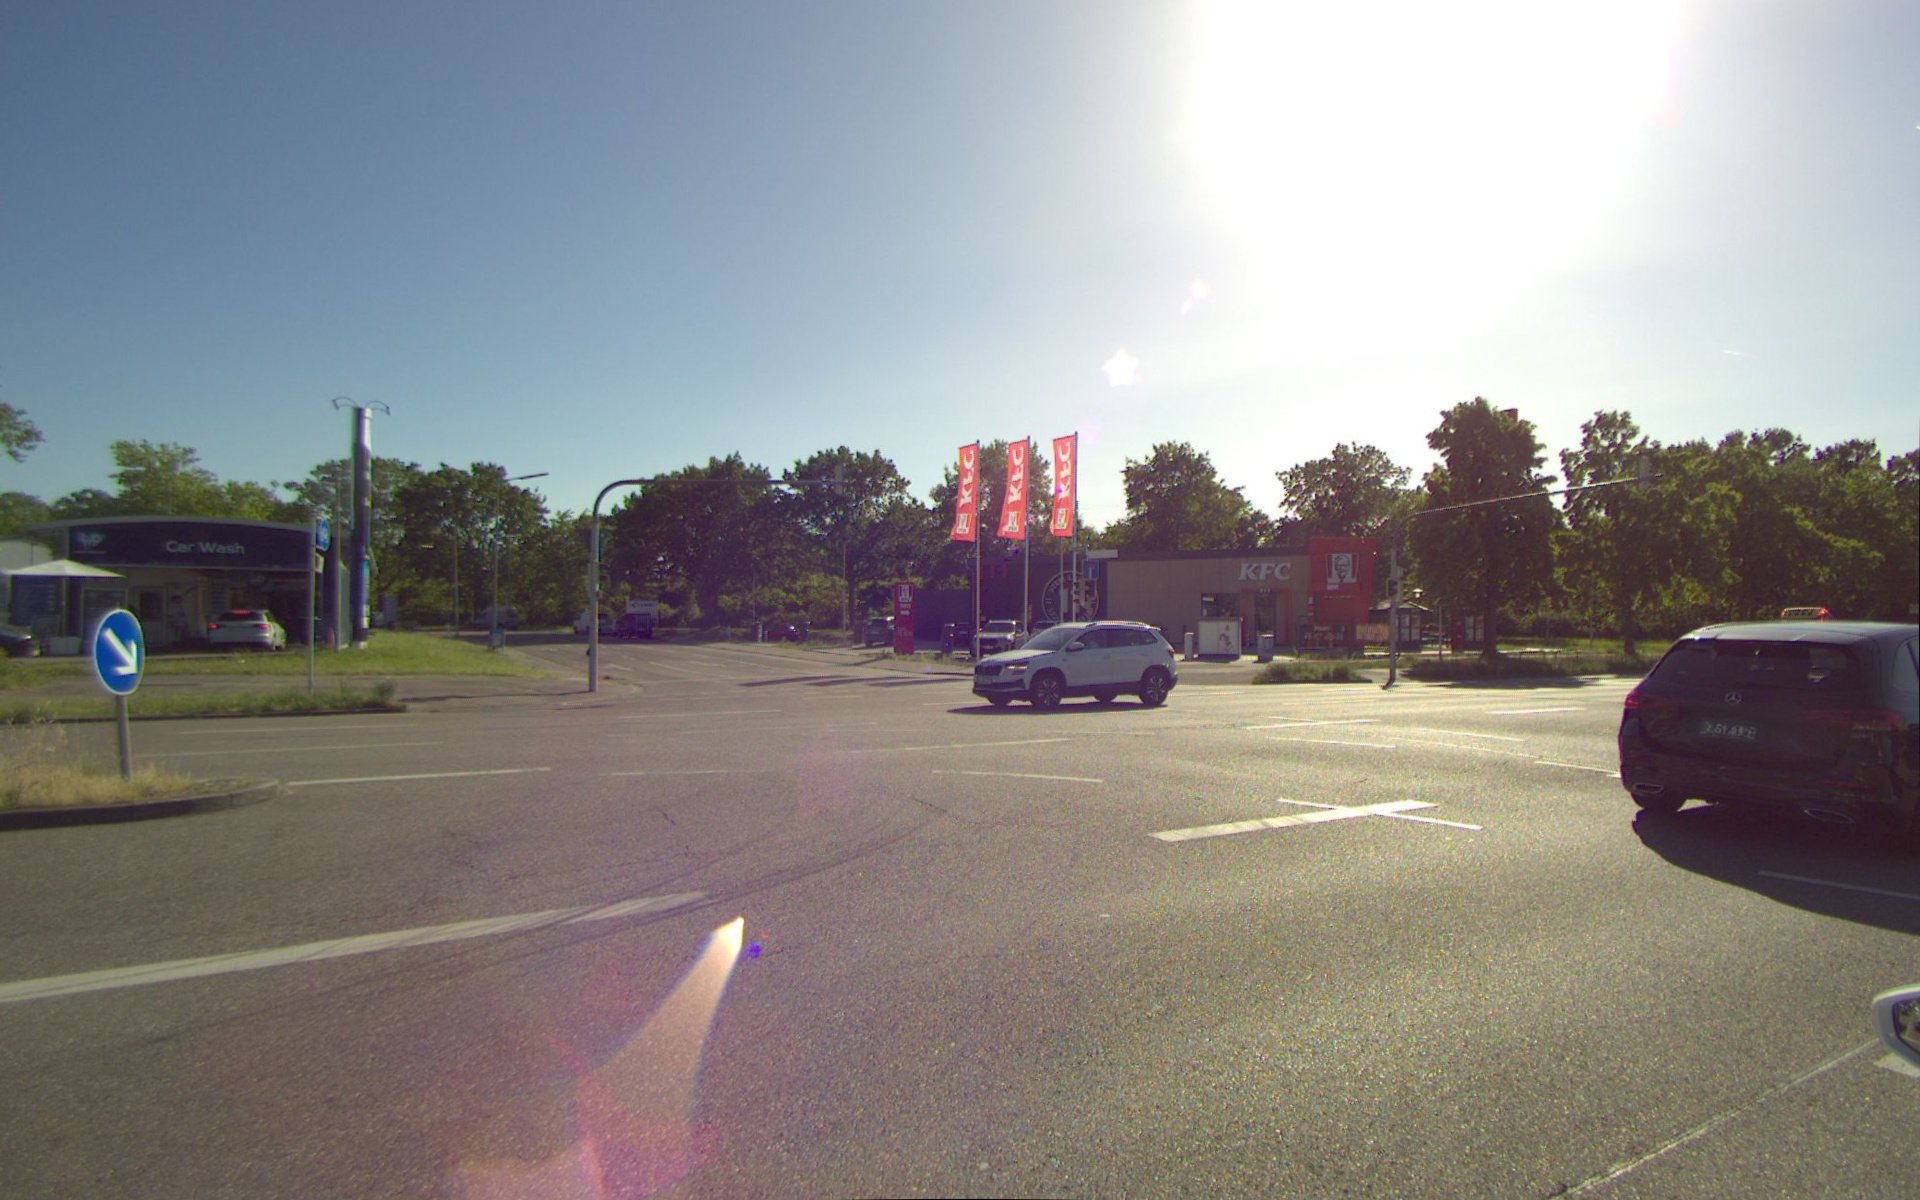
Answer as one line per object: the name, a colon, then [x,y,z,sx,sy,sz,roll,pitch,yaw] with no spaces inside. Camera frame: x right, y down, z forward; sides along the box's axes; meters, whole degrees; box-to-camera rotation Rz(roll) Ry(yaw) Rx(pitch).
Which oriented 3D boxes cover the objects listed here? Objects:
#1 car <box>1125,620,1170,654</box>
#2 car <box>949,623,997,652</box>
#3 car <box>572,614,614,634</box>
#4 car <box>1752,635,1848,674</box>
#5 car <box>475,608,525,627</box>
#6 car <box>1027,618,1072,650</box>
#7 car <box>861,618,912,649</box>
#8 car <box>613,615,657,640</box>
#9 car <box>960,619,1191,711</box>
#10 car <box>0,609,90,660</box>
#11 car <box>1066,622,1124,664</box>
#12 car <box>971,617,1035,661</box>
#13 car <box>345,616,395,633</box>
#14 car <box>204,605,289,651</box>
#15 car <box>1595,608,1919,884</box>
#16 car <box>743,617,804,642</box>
car: [10.259,1.974,54.762,1.857,1.684,4.243,2,0,17]
car: [0.789,2.153,58.455,1.845,1.539,4.002,2,0,15]
car: [-32.541,2.143,89.017,4.241,1.690,1.898,-2,-3,44]
car: [36.878,2.360,44.073,4.147,1.546,1.984,1,-1,-31]
car: [-45.861,1.743,100.076,4.699,1.823,2.099,-1,-2,27]
car: [5.172,1.920,57.638,1.845,1.771,4.002,0,-2,15]
car: [-4.341,1.995,59.731,1.880,1.764,4.304,0,-2,12]
car: [-25.679,2.208,79.345,1.893,1.867,4.252,2,-3,-39]
car: [2.288,1.240,19.659,4.216,1.620,1.887,2,-3,-30]
car: [-26.125,0.921,26.799,4.074,1.342,1.885,2,-3,-32]
car: [6.096,1.870,44.915,1.857,1.684,4.134,2,0,17]
car: [2.020,1.726,45.719,1.811,1.875,3.830,2,0,20]
car: [-64.804,2.713,110.338,4.693,1.823,2.102,0,-2,20]
car: [-24.025,0.998,33.970,1.878,1.451,4.088,2,-3,-29]
car: [6.971,0.934,7.823,4.175,1.619,1.699,2,0,-31]
car: [-14.307,2.295,77.054,4.213,1.867,1.911,0,-2,14]
